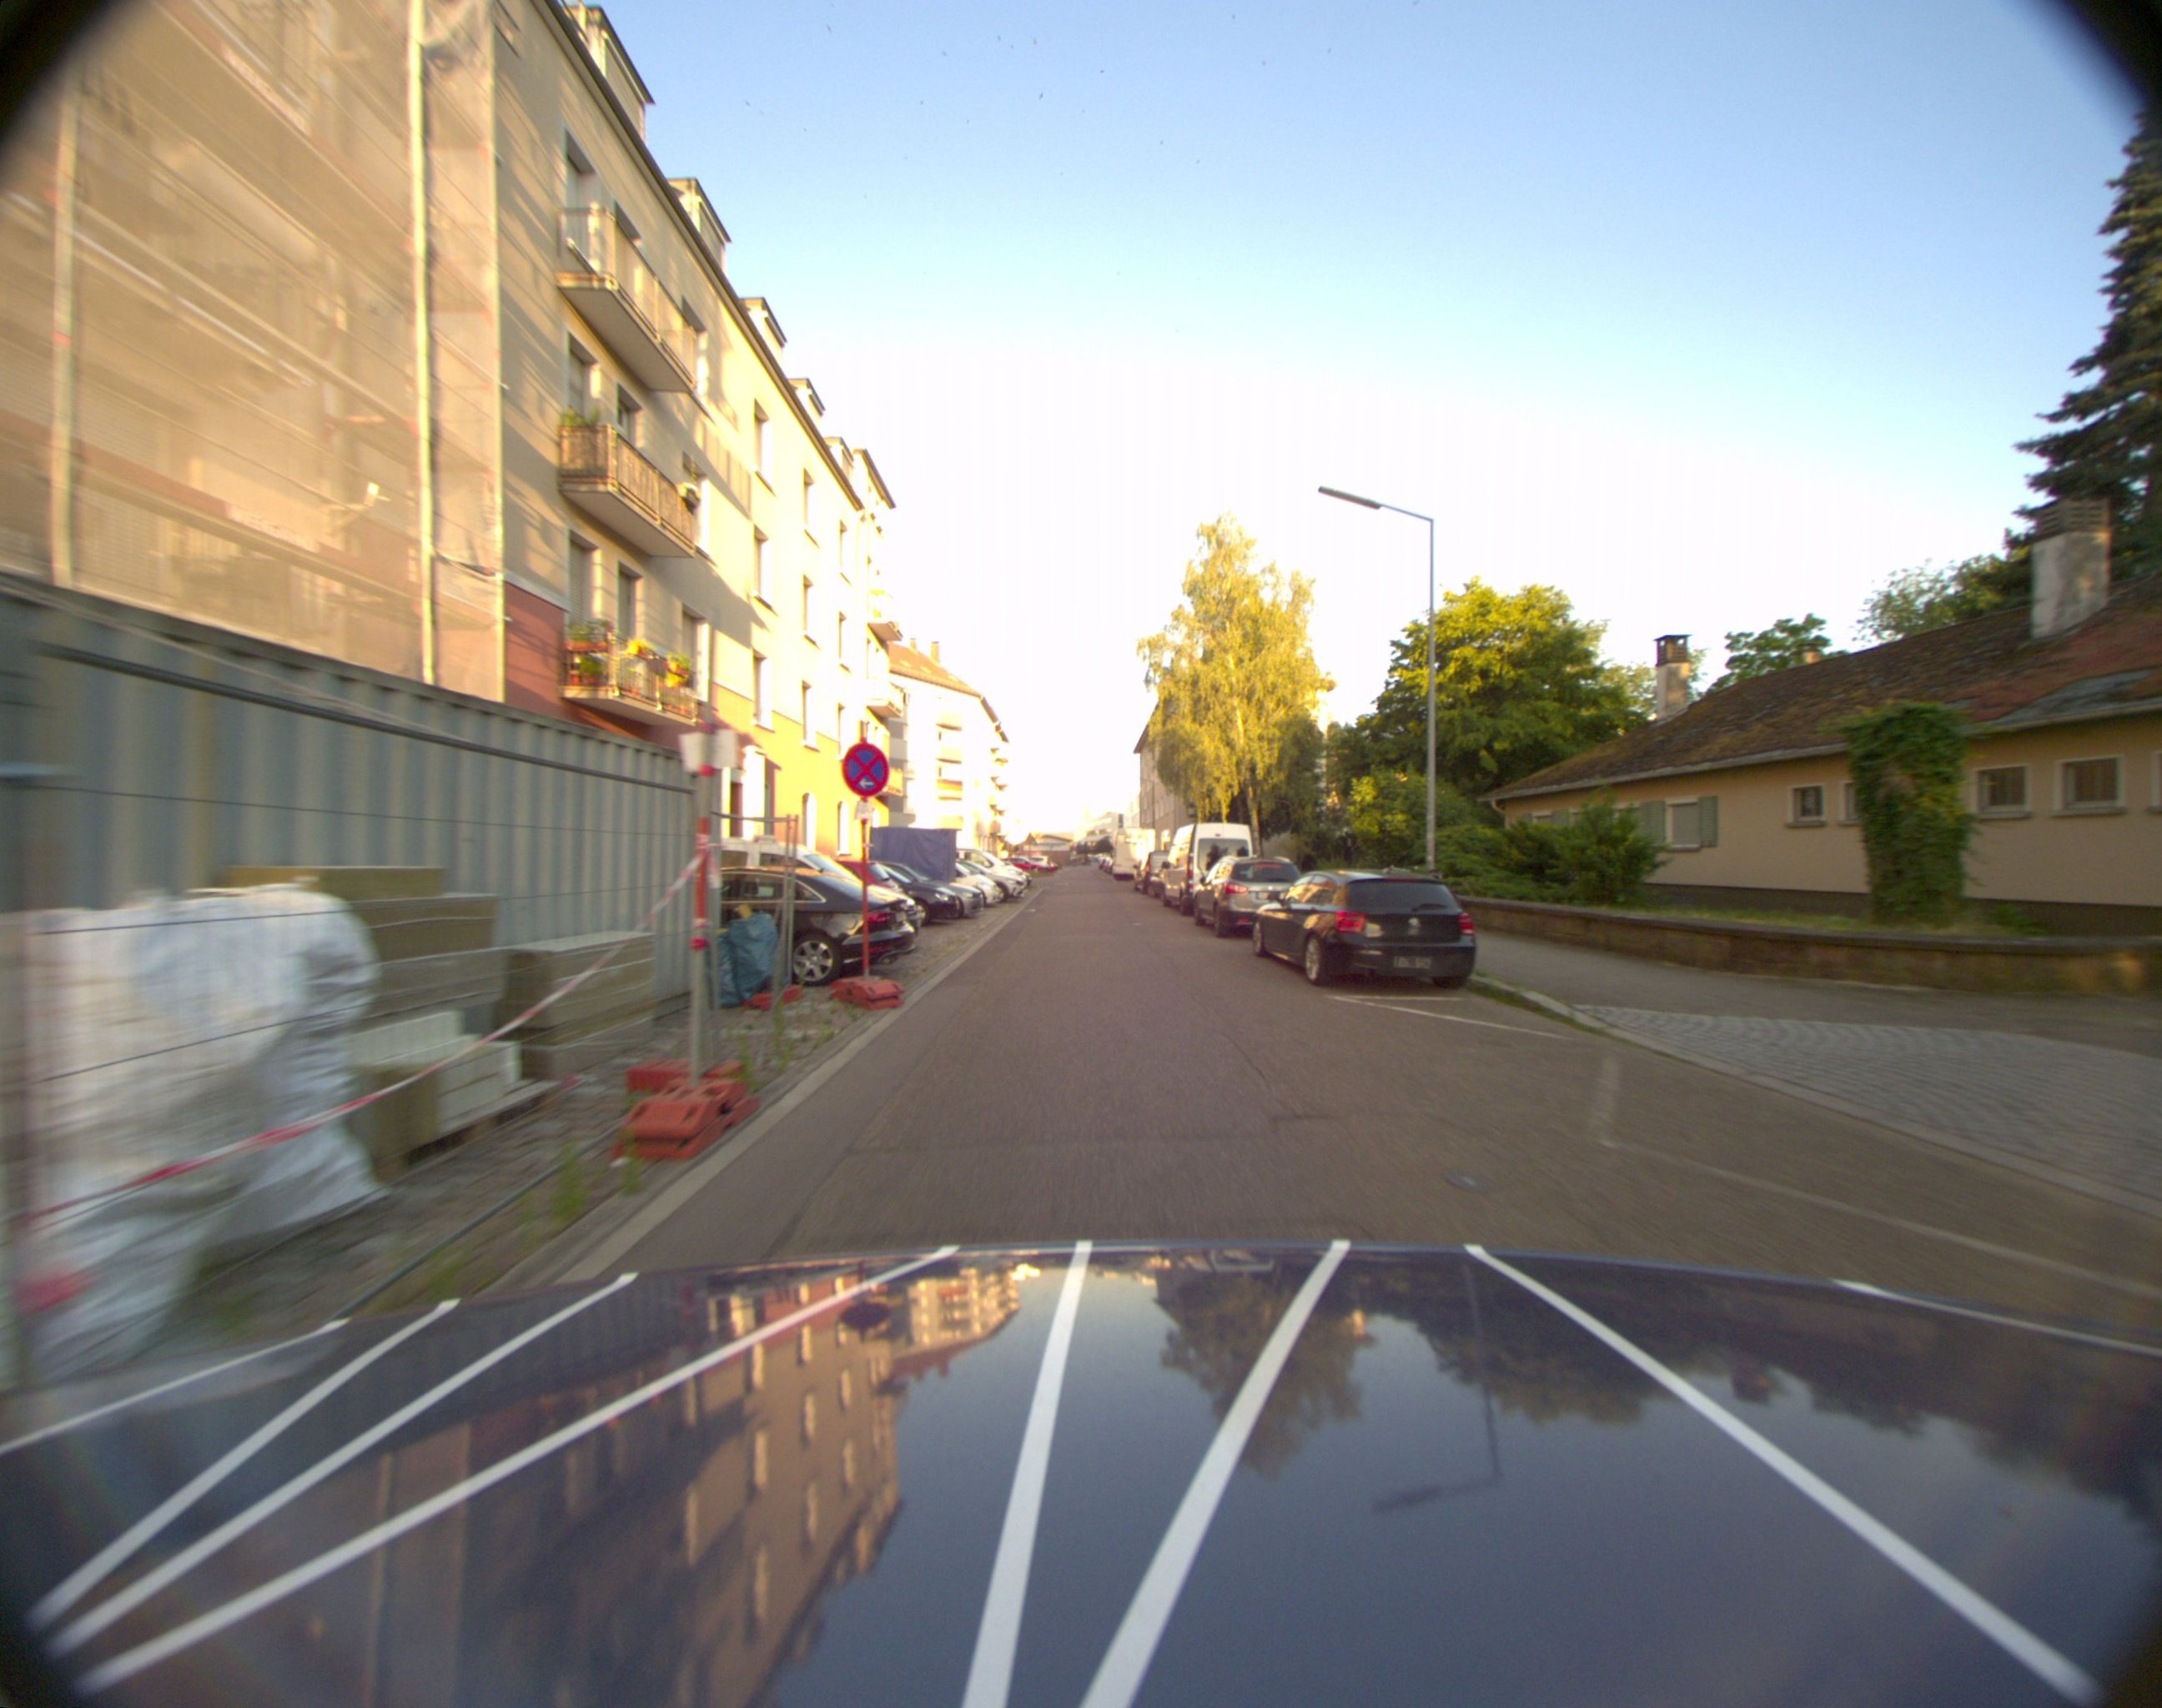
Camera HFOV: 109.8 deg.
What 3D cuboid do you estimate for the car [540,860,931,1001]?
[{"bbox_3d":[-4.225,0.901,9.795,4.163,1.606,1.872,0,0,1],"label":"car"}]

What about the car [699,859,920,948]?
[{"bbox_3d":[-5.194,0.911,14.934,3.702,1.601,1.745,-1,0,-2],"label":"car"}]

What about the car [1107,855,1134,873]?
[{"bbox_3d":[3.446,0.849,66.456,1.999,1.436,4.431,-1,0,-2],"label":"car"}]

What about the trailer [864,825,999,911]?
[{"bbox_3d":[-4.295,0.405,22.299,3.577,2.323,1.940,2,0,-3],"label":"trailer"}]

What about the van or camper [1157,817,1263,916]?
[{"bbox_3d":[3.549,0.319,22.094,1.999,2.442,6.082,-1,0,0],"label":"van or camper"}]

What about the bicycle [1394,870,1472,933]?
[{"bbox_3d":[6.824,0.889,14.840,0.545,1.111,1.955,-2,0,-1],"label":"bicycle"}]

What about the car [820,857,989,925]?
[{"bbox_3d":[-4.474,0.910,19.788,3.998,1.628,1.903,-1,0,-3],"label":"car"}]

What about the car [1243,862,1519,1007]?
[{"bbox_3d":[3.620,0.868,10.144,1.998,1.444,4.288,-1,0,0],"label":"car"}]

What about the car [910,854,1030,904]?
[{"bbox_3d":[-3.858,0.860,27.053,3.998,1.630,1.999,-1,1,-2],"label":"car"}]

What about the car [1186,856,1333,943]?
[{"bbox_3d":[3.546,0.823,16.085,1.998,1.510,4.789,-1,0,0],"label":"car"}]

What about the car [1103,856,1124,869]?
[{"bbox_3d":[3.571,0.908,83.334,1.999,1.436,4.431,-1,0,-2],"label":"car"}]

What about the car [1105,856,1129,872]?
[{"bbox_3d":[3.331,0.906,71.940,1.999,1.436,4.431,-1,0,-1],"label":"car"}]

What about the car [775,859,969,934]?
[{"bbox_3d":[-4.678,0.932,17.484,3.975,1.562,1.788,-1,0,-3],"label":"car"}]

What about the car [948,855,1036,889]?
[{"bbox_3d":[-4.251,0.837,36.737,4.113,1.576,1.854,-1,0,-3],"label":"car"}]

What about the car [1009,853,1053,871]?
[{"bbox_3d":[-4.637,0.717,70.374,3.998,1.619,1.784,-1,0,-3],"label":"car"}]

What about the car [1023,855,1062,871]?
[{"bbox_3d":[-4.057,0.939,81.048,3.996,1.674,2.000,-1,0,3],"label":"car"}]

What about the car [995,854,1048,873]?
[{"bbox_3d":[-5.082,0.821,65.363,4.311,1.532,1.923,-1,0,1],"label":"car"}]

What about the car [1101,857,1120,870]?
[{"bbox_3d":[3.621,1.159,94.036,1.999,1.481,4.431,-1,0,-2],"label":"car"}]

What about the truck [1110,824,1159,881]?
[{"bbox_3d":[3.374,-0.104,49.884,2.532,3.334,8.017,2,0,0],"label":"truck"}]

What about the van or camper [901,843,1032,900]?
[{"bbox_3d":[-4.388,0.667,29.782,4.846,2.084,2.040,-1,0,-1],"label":"van or camper"}]

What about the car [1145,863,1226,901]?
[{"bbox_3d":[3.659,0.954,27.311,1.999,1.182,4.034,-1,0,-5],"label":"car"}]

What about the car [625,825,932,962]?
[{"bbox_3d":[-4.746,0.640,12.495,4.279,1.968,1.821,2,-1,-6],"label":"car"}]

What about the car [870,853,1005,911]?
[{"bbox_3d":[-4.513,0.867,24.413,3.998,1.718,1.999,-1,1,-2],"label":"car"}]

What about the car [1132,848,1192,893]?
[{"bbox_3d":[3.393,0.675,32.608,1.915,1.777,4.949,0,0,-1],"label":"car"}]

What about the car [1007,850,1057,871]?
[{"bbox_3d":[-4.668,0.590,73.281,4.685,1.988,2.000,-1,0,1],"label":"car"}]
